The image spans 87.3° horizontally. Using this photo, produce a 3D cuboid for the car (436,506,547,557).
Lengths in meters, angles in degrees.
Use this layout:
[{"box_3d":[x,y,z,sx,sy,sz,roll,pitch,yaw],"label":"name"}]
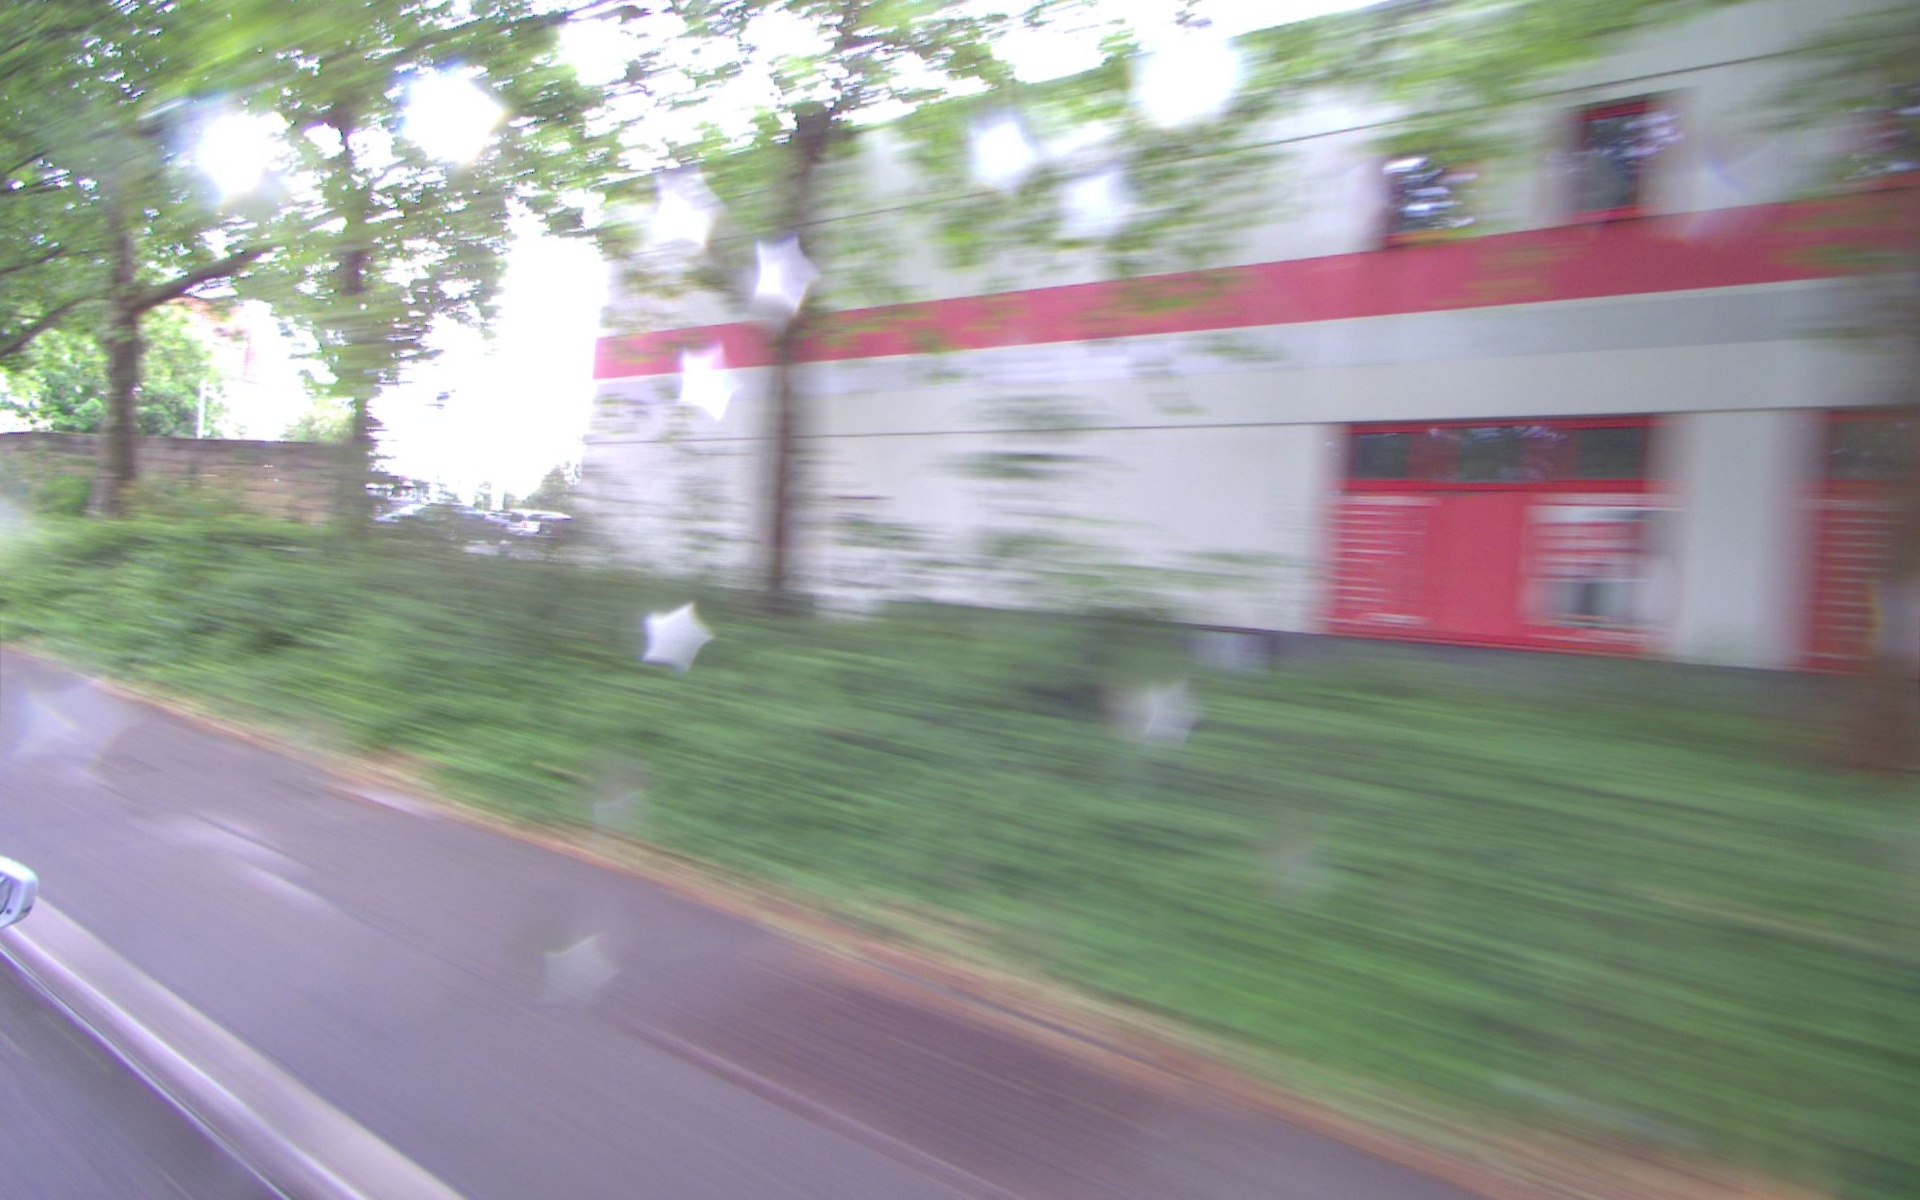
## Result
[{"box_3d":[-17.737,-2.599,38.048,3.933,1.427,1.797,7,0,31],"label":"car"}]
